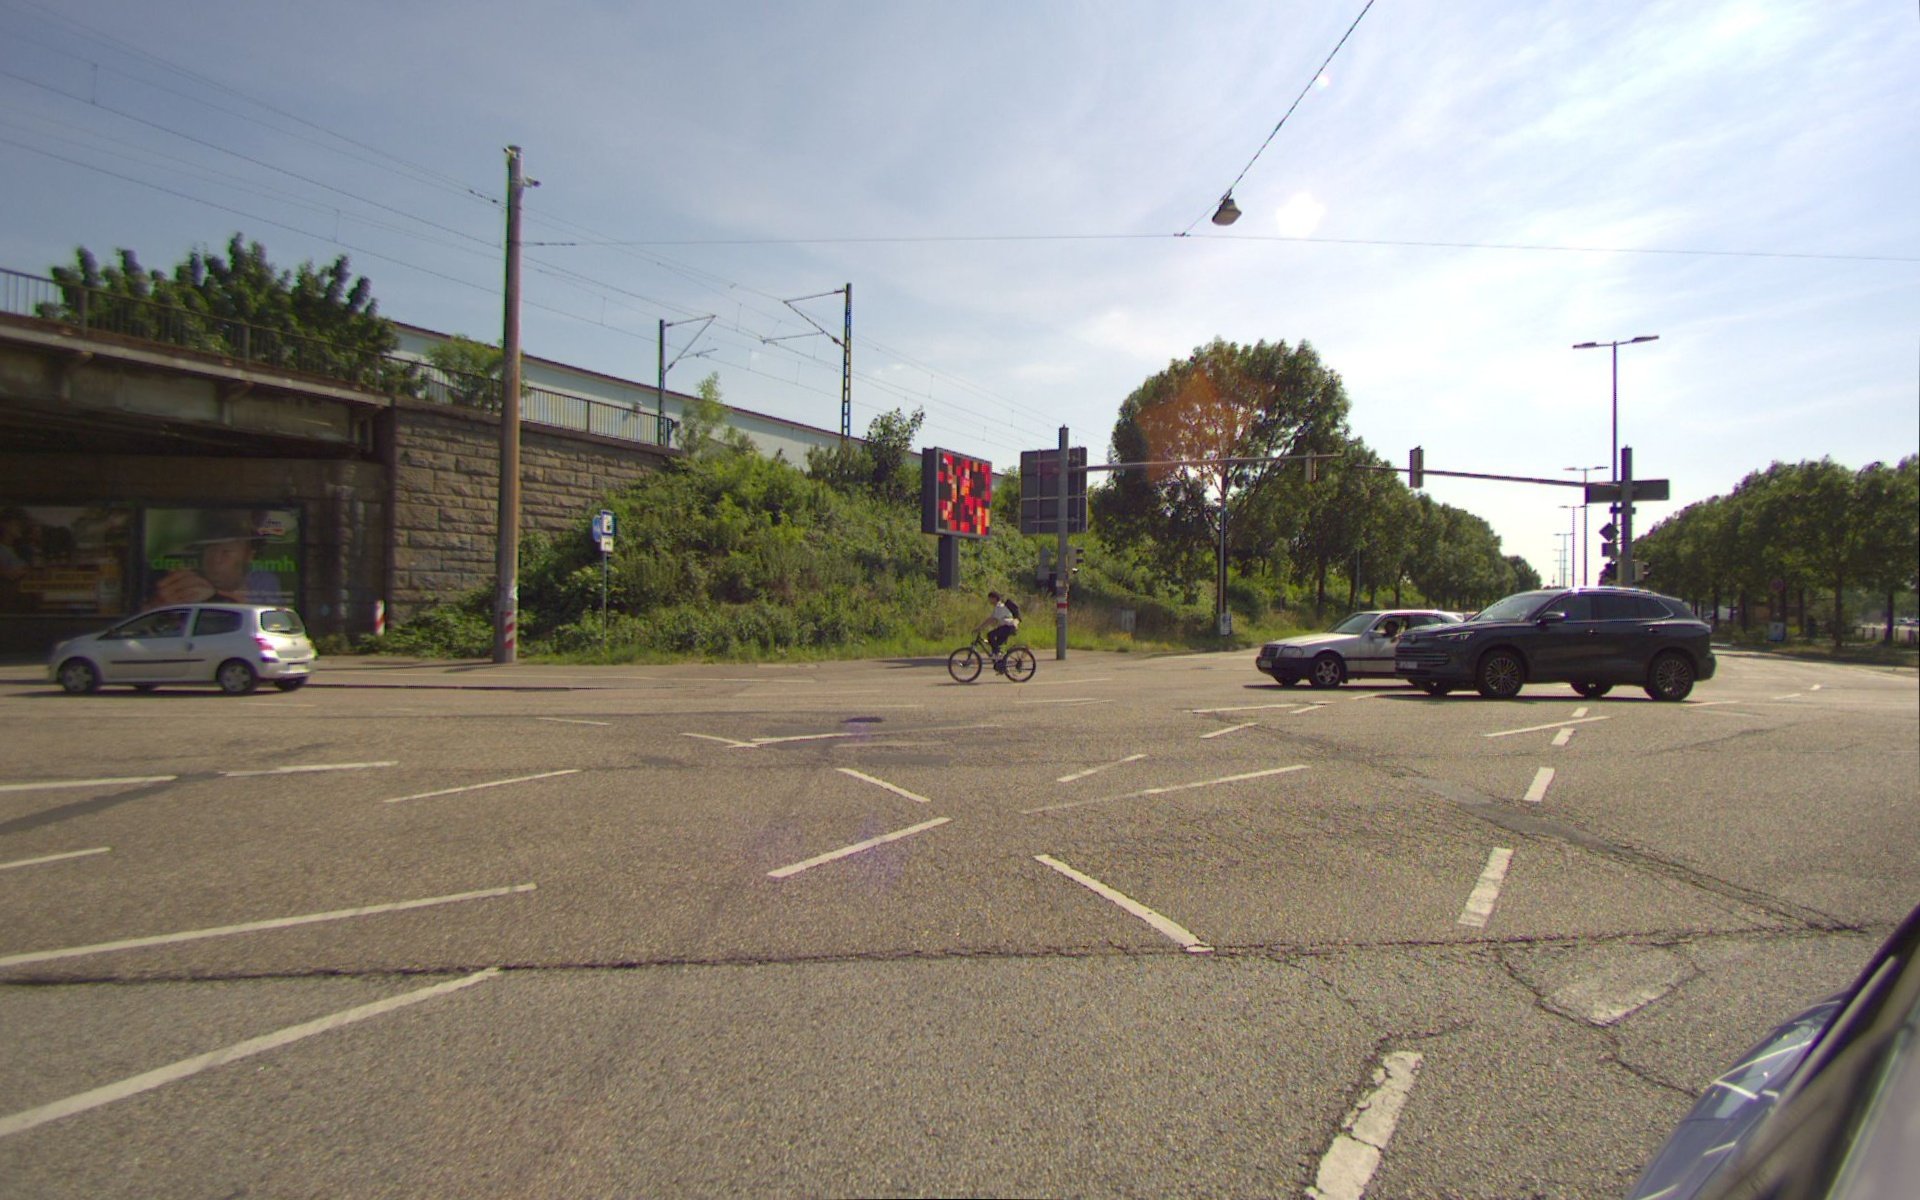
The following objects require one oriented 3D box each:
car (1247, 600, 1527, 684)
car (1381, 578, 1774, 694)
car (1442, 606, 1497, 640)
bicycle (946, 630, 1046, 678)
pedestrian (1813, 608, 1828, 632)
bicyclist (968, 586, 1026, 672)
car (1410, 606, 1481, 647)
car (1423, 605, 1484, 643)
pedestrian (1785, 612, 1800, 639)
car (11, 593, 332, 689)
[{"bbox_3d":[7.617,0.731,18.269,4.352,1.409,1.718,1,-1,-5],"label":"car"},{"bbox_3d":[9.268,0.528,15.437,4.876,1.628,1.950,1,0,-4],"label":"car"},{"bbox_3d":[24.110,1.100,47.837,1.706,1.528,3.946,-1,-3,36],"label":"car"},{"bbox_3d":[0.700,1.066,20.115,1.887,0.904,0.818,1,-2,-6],"label":"bicycle"},{"bbox_3d":[55.721,1.273,65.555,0.573,1.543,0.871,0,-1,29],"label":"pedestrian"},{"bbox_3d":[0.726,0.584,20.127,1.046,1.655,0.807,1,-2,-5],"label":"bicyclist"},{"bbox_3d":[18.052,1.007,37.575,1.706,1.411,3.946,-1,-3,36],"label":"car"},{"bbox_3d":[21.050,1.065,43.128,1.705,1.528,3.947,-1,-3,36],"label":"car"},{"bbox_3d":[55.671,1.699,67.688,0.625,1.731,0.760,0,-1,29],"label":"pedestrian"},{"bbox_3d":[-12.783,0.660,16.609,3.816,1.470,1.717,1,-2,-4],"label":"car"}]
